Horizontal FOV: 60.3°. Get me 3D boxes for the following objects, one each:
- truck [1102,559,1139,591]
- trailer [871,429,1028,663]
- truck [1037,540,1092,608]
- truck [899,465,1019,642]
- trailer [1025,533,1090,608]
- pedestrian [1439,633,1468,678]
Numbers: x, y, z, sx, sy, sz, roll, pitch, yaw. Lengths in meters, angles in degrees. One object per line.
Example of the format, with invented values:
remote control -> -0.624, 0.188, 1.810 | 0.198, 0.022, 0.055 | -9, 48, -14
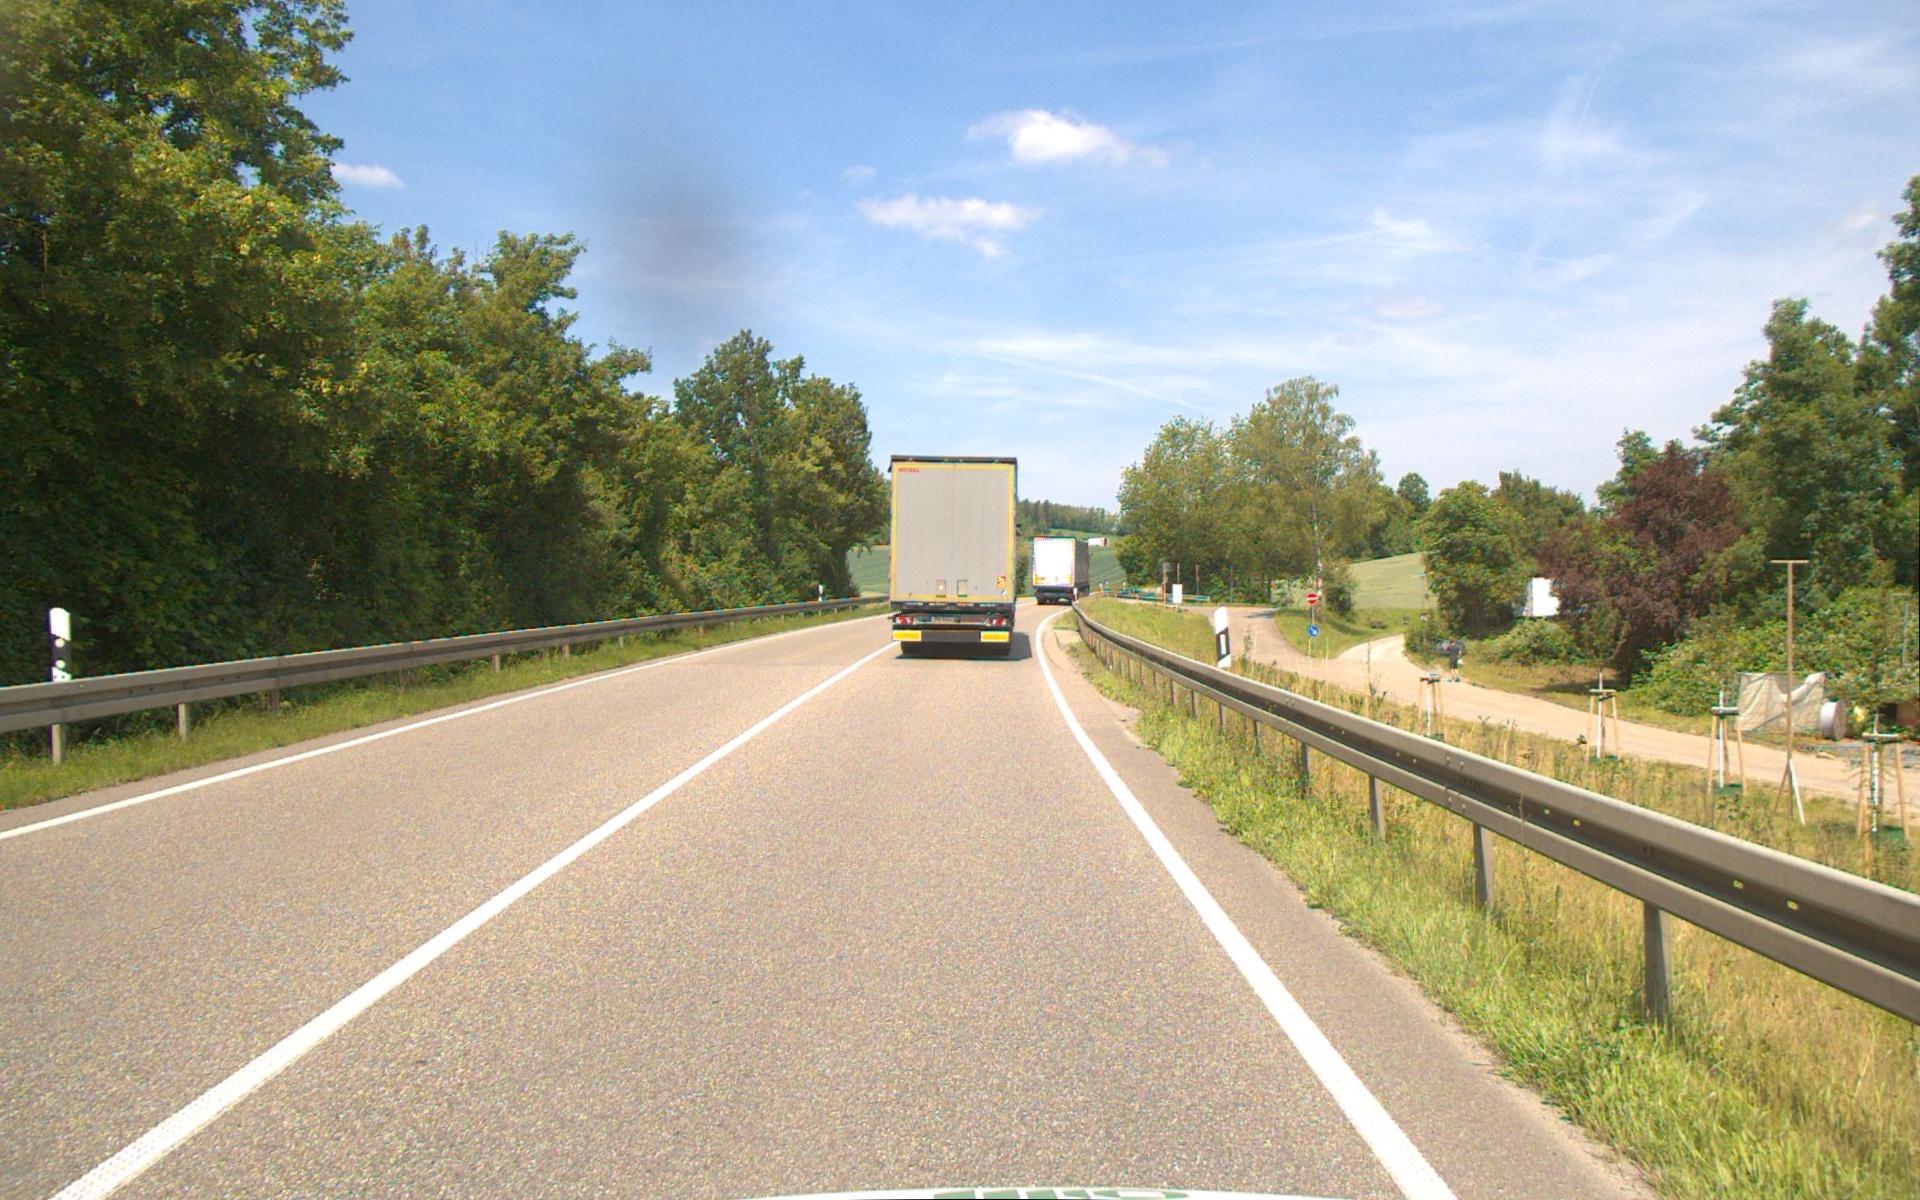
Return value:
truck -> 18.360, -2.782, 188.495 | 3.154, 3.424, 11.884 | 0, -1, 11
trailer -> -0.072, -1.156, 39.435 | 3.054, 4.578, 13.889 | 0, 1, 1
truck -> 7.090, -1.654, 111.234 | 3.293, 4.392, 6.745 | 0, -1, 7
truck -> 0.098, -1.254, 46.220 | 3.053, 4.573, 6.813 | 0, 1, 2
trailer -> 6.321, -1.700, 105.063 | 3.293, 4.392, 13.873 | 0, -1, 7
pedestrian -> 21.183, 2.391, 71.030 | 0.867, 1.842, 0.959 | -2, 1, -1
